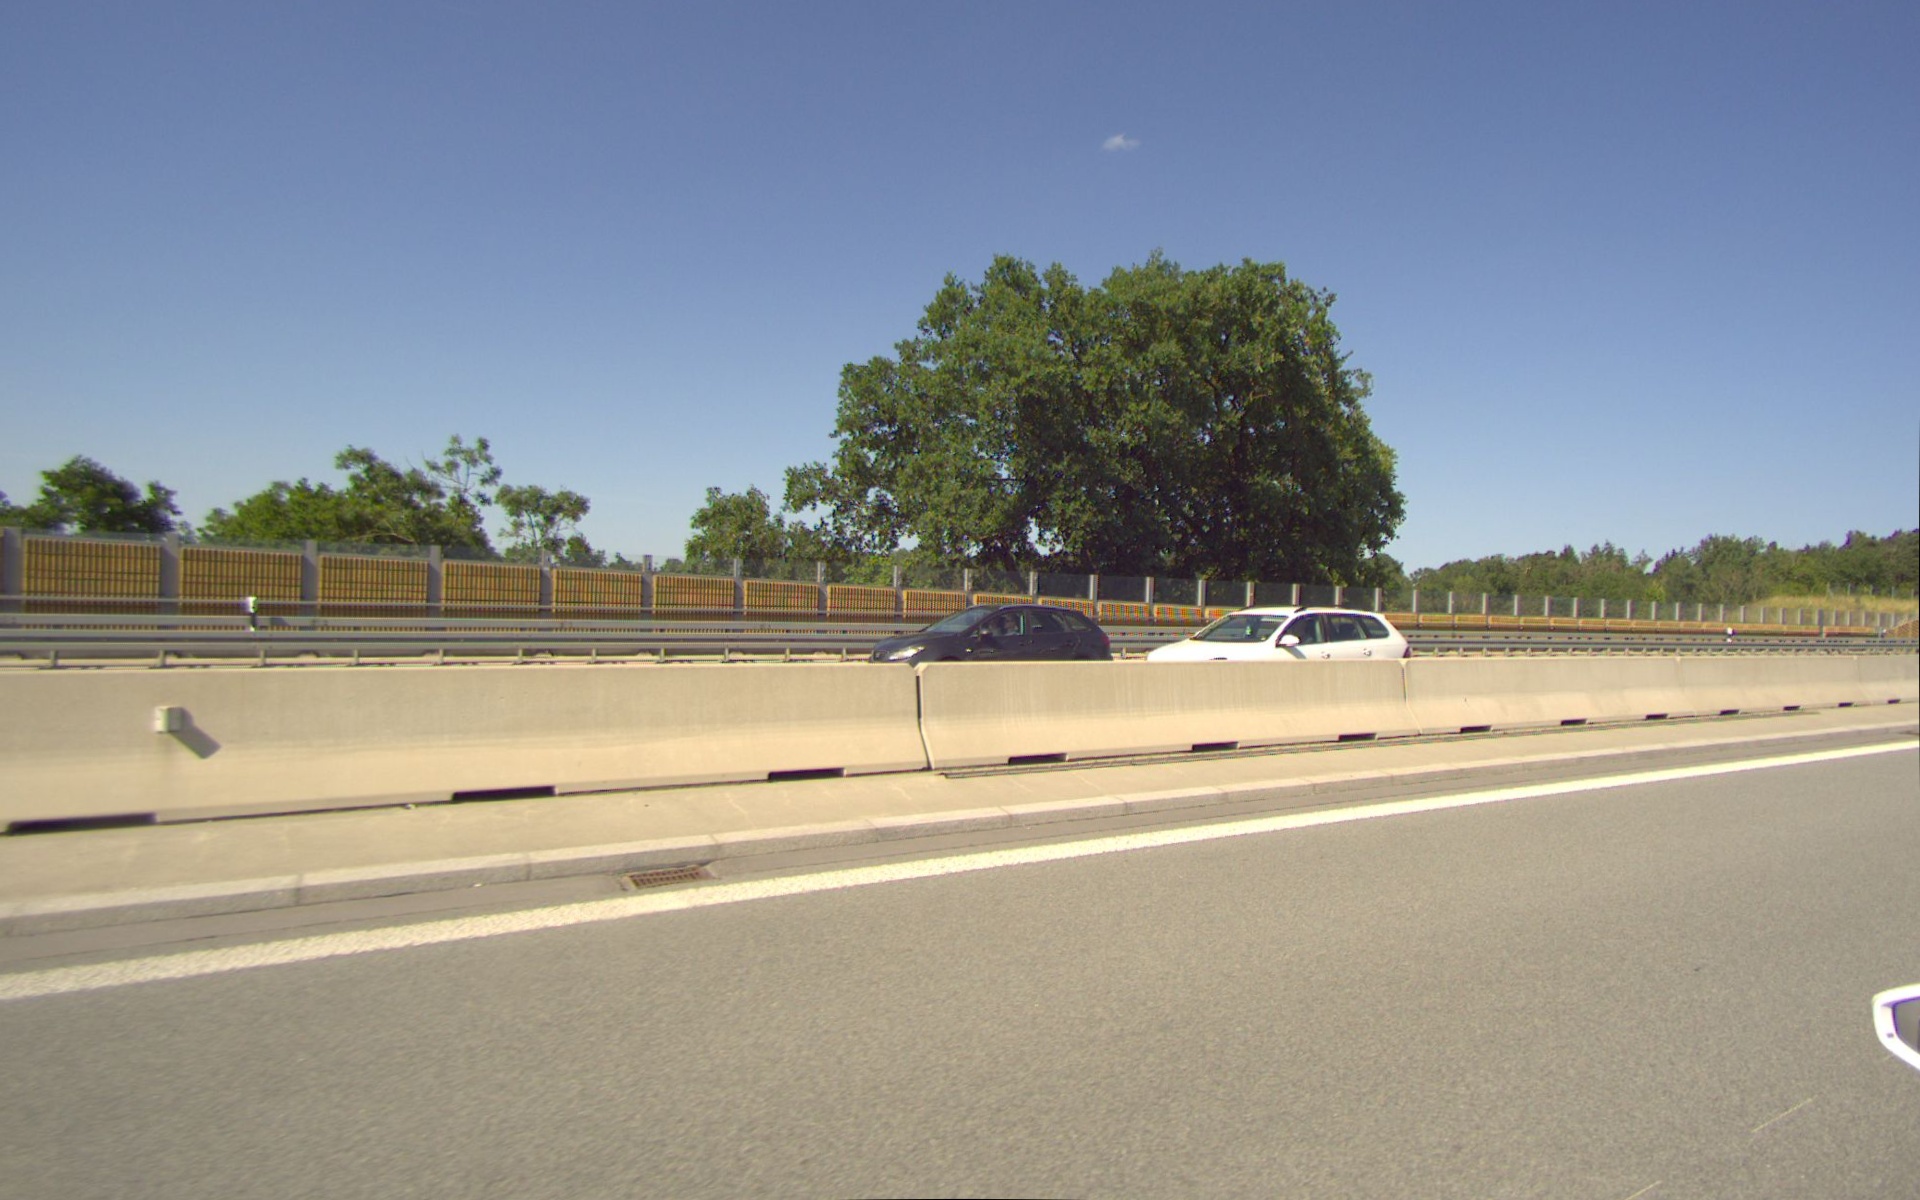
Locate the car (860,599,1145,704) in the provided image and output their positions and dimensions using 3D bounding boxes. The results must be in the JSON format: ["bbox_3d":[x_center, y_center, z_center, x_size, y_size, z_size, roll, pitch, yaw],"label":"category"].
[{"bbox_3d":[0.741,0.783,16.043,4.398,1.477,1.572,2,0,-31],"label":"car"}]

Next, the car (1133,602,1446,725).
[{"bbox_3d":[4.844,0.855,14.569,4.571,1.523,1.718,2,0,-31],"label":"car"}]
